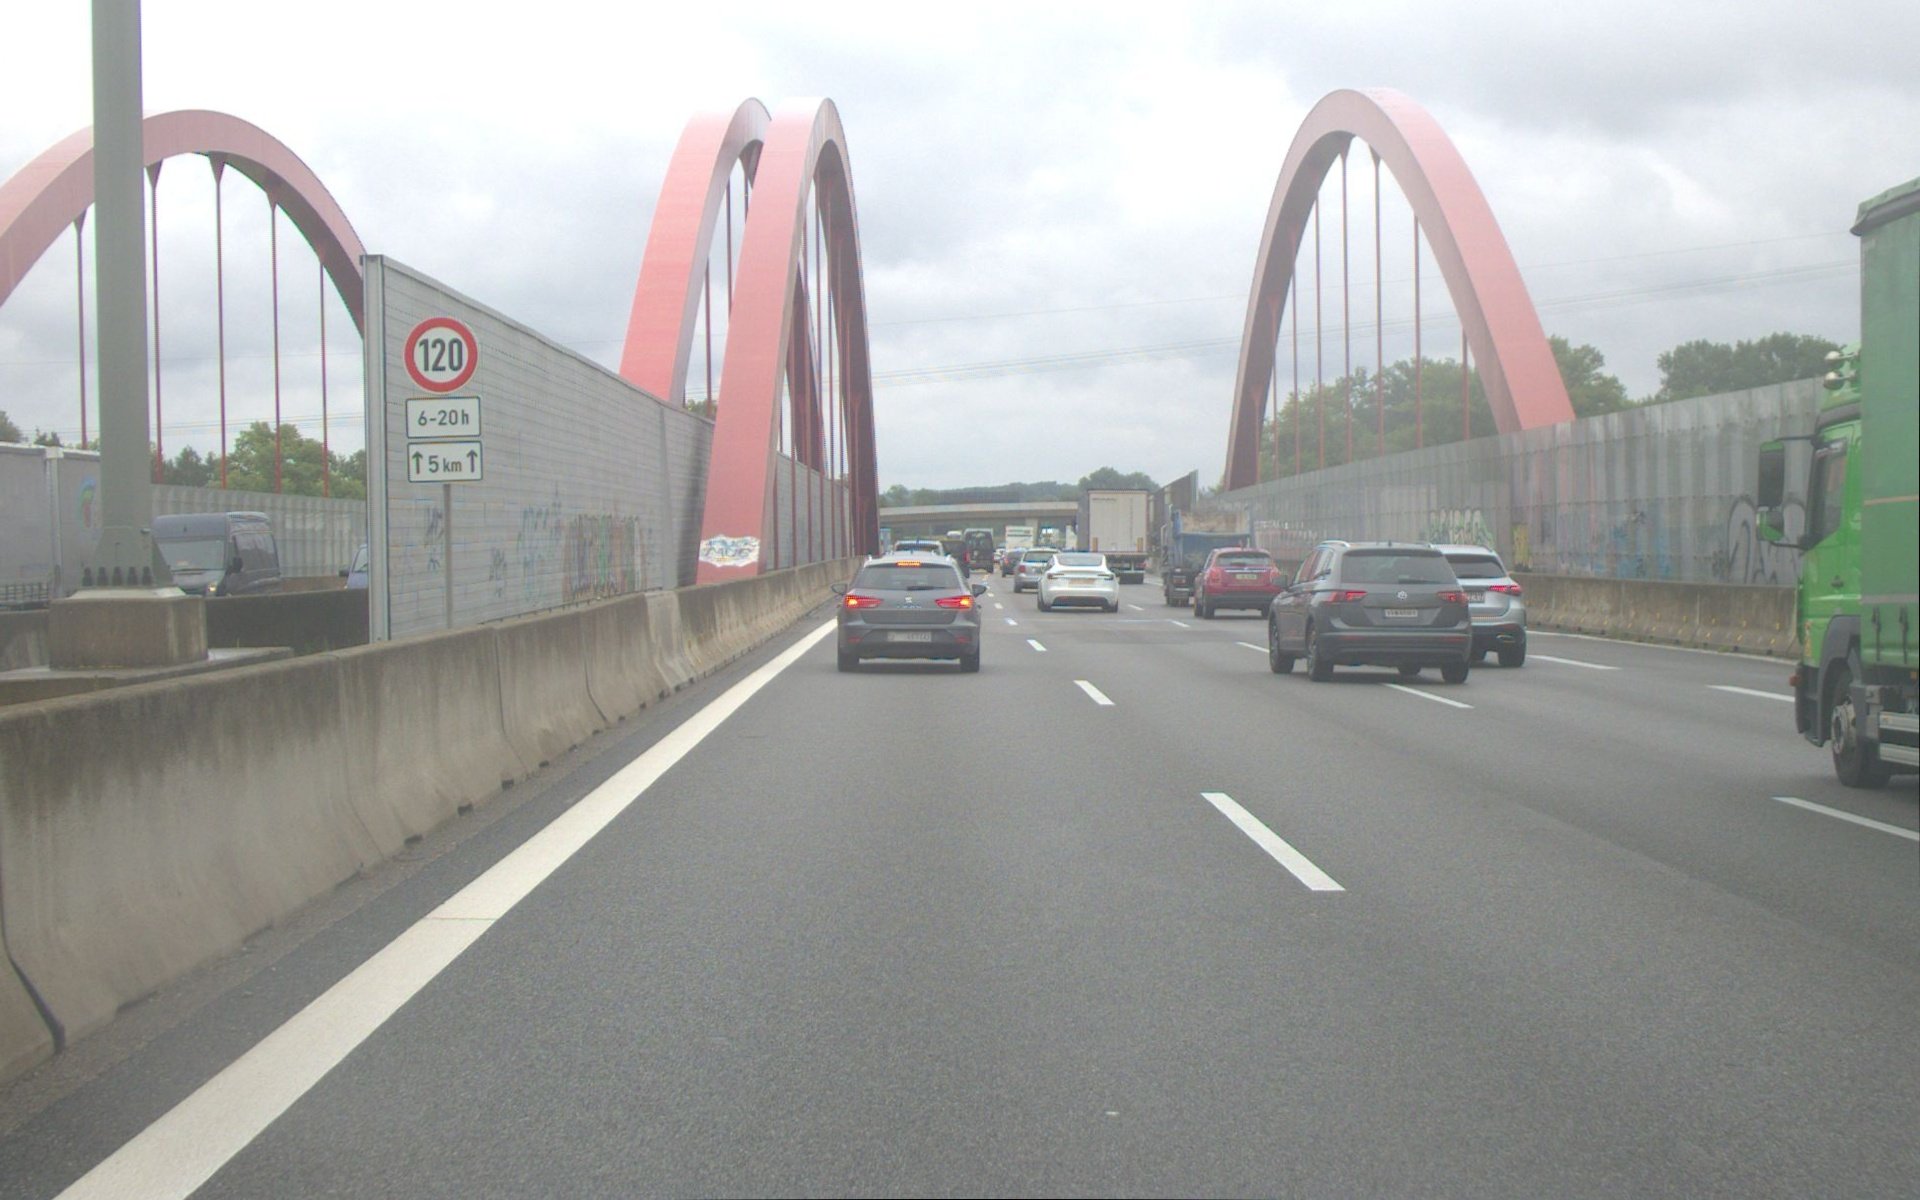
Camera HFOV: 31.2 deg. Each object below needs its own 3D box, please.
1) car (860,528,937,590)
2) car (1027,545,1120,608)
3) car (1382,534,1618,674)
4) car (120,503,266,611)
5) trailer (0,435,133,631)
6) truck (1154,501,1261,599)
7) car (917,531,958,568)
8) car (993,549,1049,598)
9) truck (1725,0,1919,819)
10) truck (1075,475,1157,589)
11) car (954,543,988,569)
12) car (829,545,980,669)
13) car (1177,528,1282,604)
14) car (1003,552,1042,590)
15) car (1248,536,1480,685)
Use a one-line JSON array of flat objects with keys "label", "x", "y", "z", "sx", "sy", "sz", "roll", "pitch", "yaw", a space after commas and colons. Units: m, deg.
[{"label": "car", "x": -1.665, "y": -1.110, "z": 91.545, "sx": 1.993, "sy": 1.579, "sz": 4.001, "roll": -1, "pitch": 1, "yaw": -2}, {"label": "car", "x": 2.707, "y": -0.584, "z": 82.842, "sx": 1.993, "sy": 1.481, "sz": 4.000, "roll": 0, "pitch": 1, "yaw": -1}, {"label": "car", "x": 6.707, "y": 0.010, "z": 43.261, "sx": 1.993, "sy": 1.613, "sz": 5.328, "roll": 1, "pitch": 1, "yaw": -1}, {"label": "car", "x": -15.519, "y": -0.882, "z": 69.789, "sx": 1.993, "sy": 2.105, "sz": 4.531, "roll": 0, "pitch": 1, "yaw": 0}, {"label": "trailer", "x": -19.784, "y": -1.354, "z": 69.381, "sx": 2.984, "sy": 3.716, "sz": 14.309, "roll": 0, "pitch": 1, "yaw": -1}, {"label": "truck", "x": 6.530, "y": -1.347, "z": 91.377, "sx": 2.361, "sy": 2.498, "sz": 6.144, "roll": 0, "pitch": 1, "yaw": 0}, {"label": "car", "x": -1.115, "y": -2.493, "z": 169.740, "sx": 1.993, "sy": 1.809, "sz": 4.000, "roll": 0, "pitch": 1, "yaw": -1}, {"label": "car", "x": 1.947, "y": -0.873, "z": 110.913, "sx": 1.702, "sy": 1.538, "sz": 3.839, "roll": 0, "pitch": 1, "yaw": -1}, {"label": "truck", "x": 7.492, "y": -1.347, "z": 18.714, "sx": 3.997, "sy": 5.248, "sz": 11.220, "roll": 1, "pitch": 1, "yaw": 0}, {"label": "truck", "x": 6.615, "y": -2.883, "z": 146.923, "sx": 3.044, "sy": 4.718, "sz": 7.680, "roll": 1, "pitch": 1, "yaw": 0}, {"label": "car", "x": 0.696, "y": -2.765, "z": 214.362, "sx": 1.993, "sy": 1.618, "sz": 4.000, "roll": 0, "pitch": 1, "yaw": 2}, {"label": "car", "x": -0.665, "y": 0.053, "z": 42.398, "sx": 1.764, "sy": 1.448, "sz": 4.000, "roll": 0, "pitch": 1, "yaw": 0}, {"label": "car", "x": 6.070, "y": -0.787, "z": 77.809, "sx": 1.957, "sy": 1.641, "sz": 4.000, "roll": 1, "pitch": 1, "yaw": -1}, {"label": "car", "x": 3.336, "y": -1.557, "z": 184.189, "sx": 1.993, "sy": 2.007, "sz": 4.000, "roll": 1, "pitch": 1, "yaw": -1}, {"label": "car", "x": 4.694, "y": 0.082, "z": 40.505, "sx": 1.911, "sy": 1.664, "sz": 4.105, "roll": 0, "pitch": 1, "yaw": -5}]
